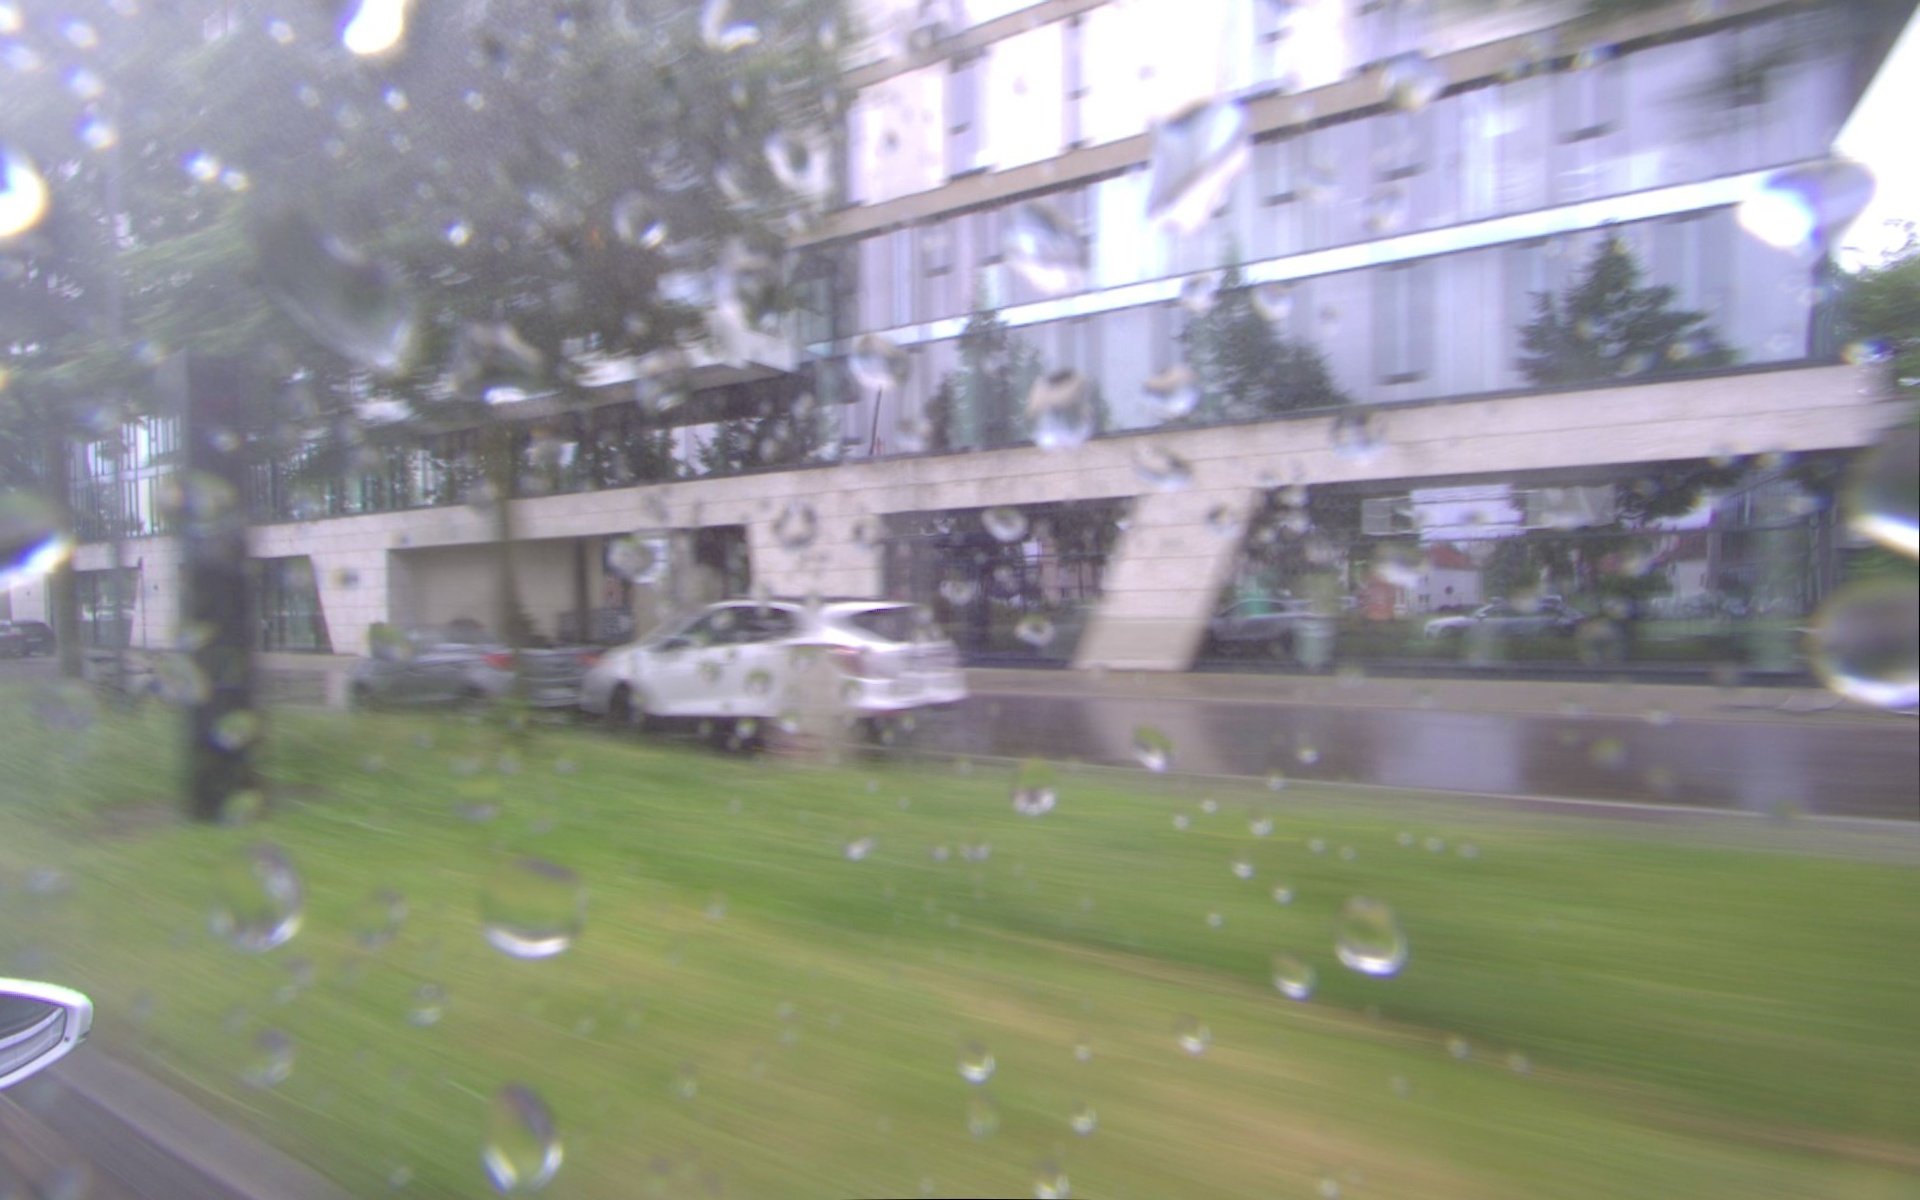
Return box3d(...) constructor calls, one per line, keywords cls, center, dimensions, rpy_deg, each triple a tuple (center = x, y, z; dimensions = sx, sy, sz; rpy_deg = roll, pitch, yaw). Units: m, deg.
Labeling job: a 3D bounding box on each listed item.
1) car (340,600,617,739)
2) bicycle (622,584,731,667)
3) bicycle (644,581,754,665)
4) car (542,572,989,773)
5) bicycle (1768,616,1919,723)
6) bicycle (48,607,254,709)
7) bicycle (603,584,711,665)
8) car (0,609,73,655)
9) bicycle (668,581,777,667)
box3d(cls="car", center=(-6.419, 0.807, 13.265), dimensions=(3.601, 1.511, 1.622), rpy_deg=(2, 2, 31))
box3d(cls="bicycle", center=(-6.780, 0.579, 24.084), dimensions=(0.698, 1.885, 2.671), rpy_deg=(1, 1, 35))
box3d(cls="bicycle", center=(-6.120, 0.513, 23.665), dimensions=(0.698, 1.885, 2.671), rpy_deg=(1, 1, 35))
box3d(cls="car", center=(-2.206, 0.607, 10.906), dimensions=(4.653, 1.692, 1.990), rpy_deg=(2, 1, 31))
box3d(cls="bicycle", center=(10.402, 0.762, 11.232), dimensions=(2.035, 1.145, 0.517), rpy_deg=(0, 0, 34))
box3d(cls="bicycle", center=(-10.424, 0.702, 13.001), dimensions=(0.484, 1.212, 2.032), rpy_deg=(0, 0, 30))
box3d(cls="bicycle", center=(-7.375, 0.571, 24.521), dimensions=(0.698, 1.885, 2.671), rpy_deg=(1, 1, 35))
box3d(cls="car", center=(-38.185, 1.250, 40.587), dimensions=(4.962, 1.523, 1.987), rpy_deg=(1, 5, 33))
box3d(cls="bicycle", center=(-5.471, 0.523, 23.248), dimensions=(0.698, 1.885, 2.671), rpy_deg=(1, 1, 35))
